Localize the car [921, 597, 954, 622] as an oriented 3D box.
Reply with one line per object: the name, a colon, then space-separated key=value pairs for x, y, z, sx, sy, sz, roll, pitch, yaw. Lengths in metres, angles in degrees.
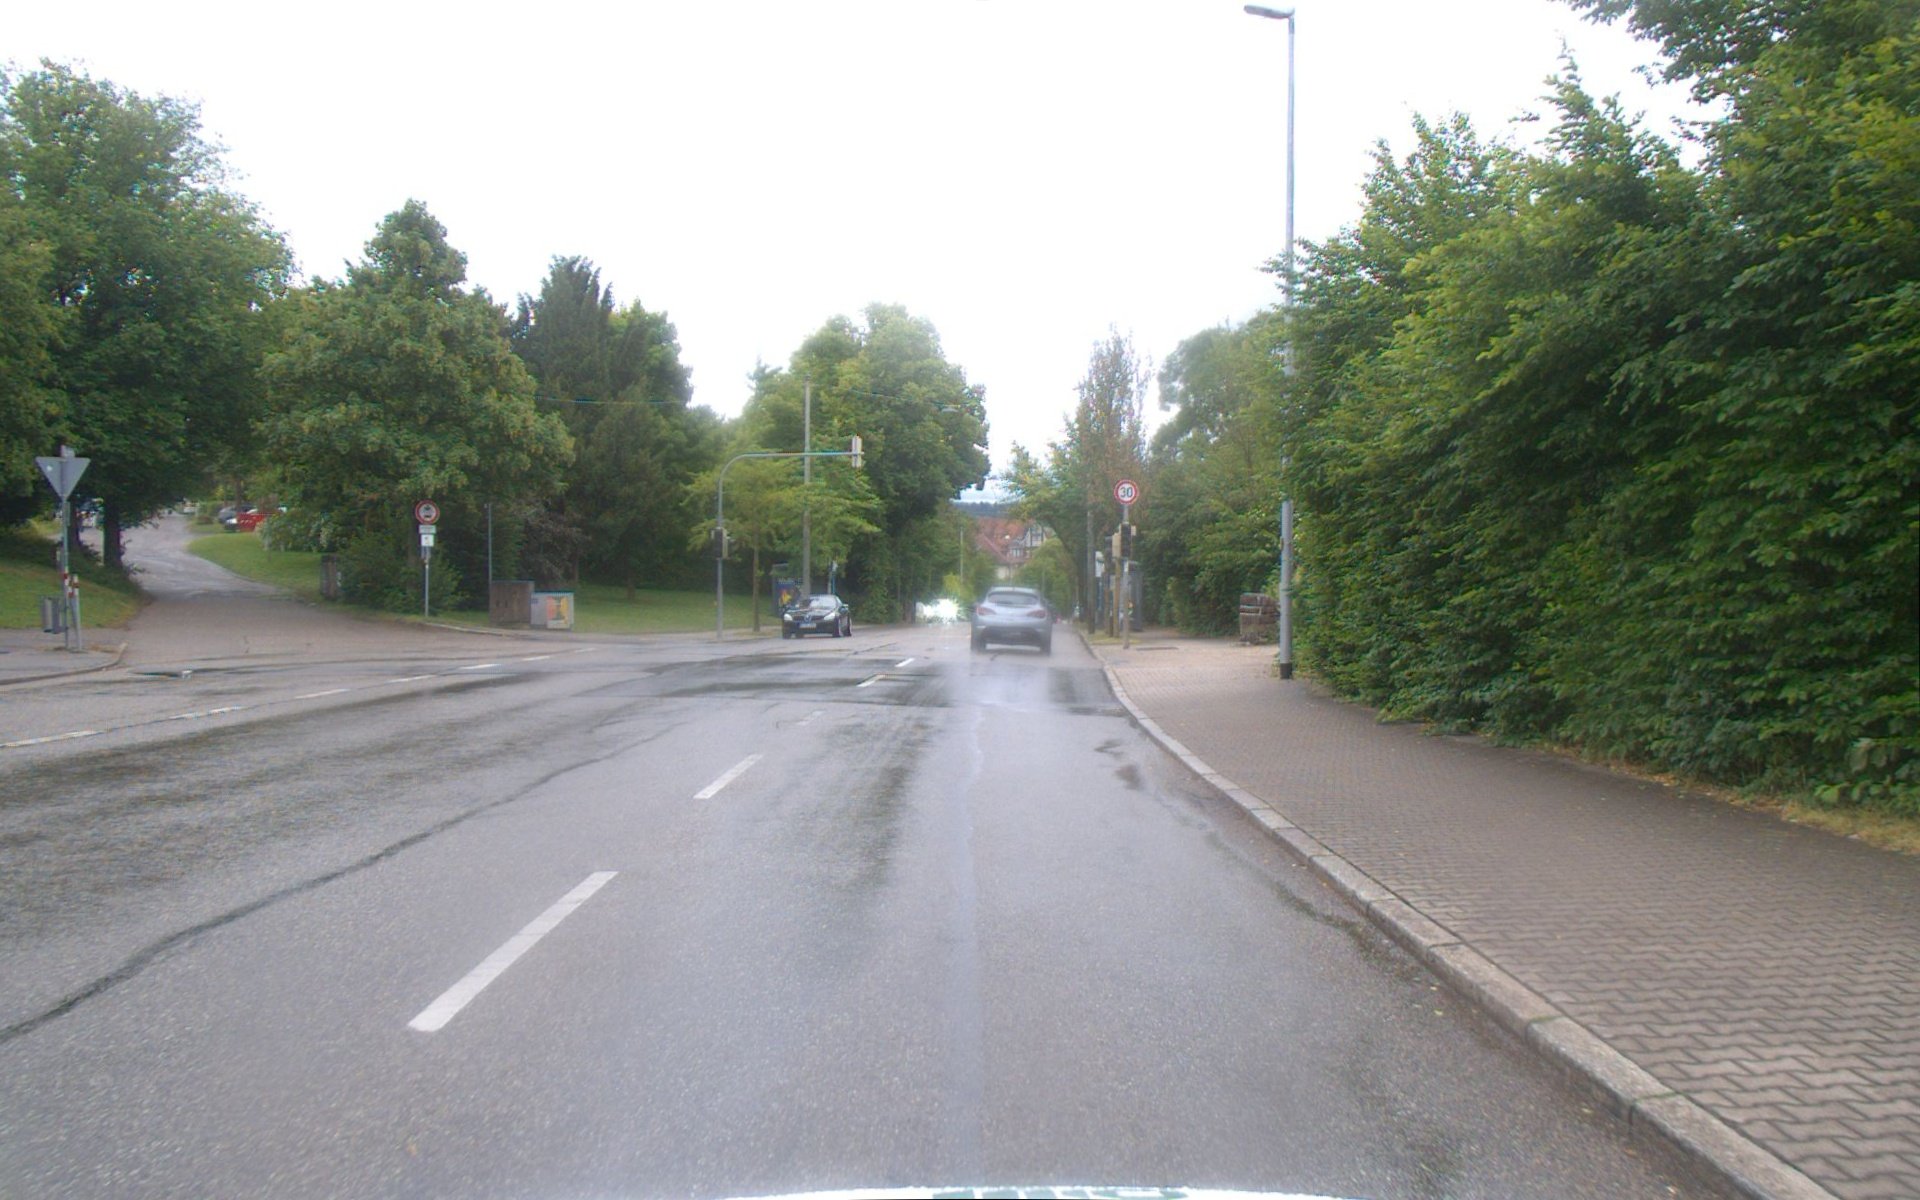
car: x=-1.375 y=0.588 z=102.727 sx=1.685 sy=1.423 sz=4.002 roll=3 pitch=0 yaw=4

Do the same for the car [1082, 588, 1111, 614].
car: x=8.260 y=0.036 z=100.201 sx=1.685 sy=1.489 sz=4.002 roll=-1 pitch=0 yaw=4

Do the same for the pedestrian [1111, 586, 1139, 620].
pedestrian: x=6.734 y=0.122 z=67.389 sx=1.050 sy=1.379 sz=0.919 roll=0 pitch=0 yaw=10

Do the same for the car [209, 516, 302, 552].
car: x=-32.878 y=-3.055 z=77.272 sx=3.838 sy=1.512 sz=1.925 roll=1 pitch=0 yaw=-19

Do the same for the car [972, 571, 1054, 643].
car: x=1.223 y=0.118 z=38.033 sx=1.718 sy=1.489 sz=4.002 roll=3 pitch=1 yaw=2

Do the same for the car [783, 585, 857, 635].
car: x=-4.204 y=0.277 z=50.158 sx=1.626 sy=1.329 sz=4.086 roll=-1 pitch=2 yaw=4

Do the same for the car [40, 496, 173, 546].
car: x=-29.849 y=-2.746 z=57.954 sx=3.838 sy=1.512 sz=1.925 roll=1 pitch=0 yaw=-19

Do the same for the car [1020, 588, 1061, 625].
car: x=3.528 y=0.256 z=72.948 sx=1.686 sy=1.489 sz=4.001 roll=4 pitch=0 yaw=2

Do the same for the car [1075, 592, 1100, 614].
car: x=8.894 y=0.188 z=115.358 sx=1.685 sy=1.489 sz=4.002 roll=-1 pitch=0 yaw=4

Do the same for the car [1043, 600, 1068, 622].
car: x=6.948 y=0.784 z=120.981 sx=1.686 sy=1.489 sz=4.001 roll=4 pitch=0 yaw=2
